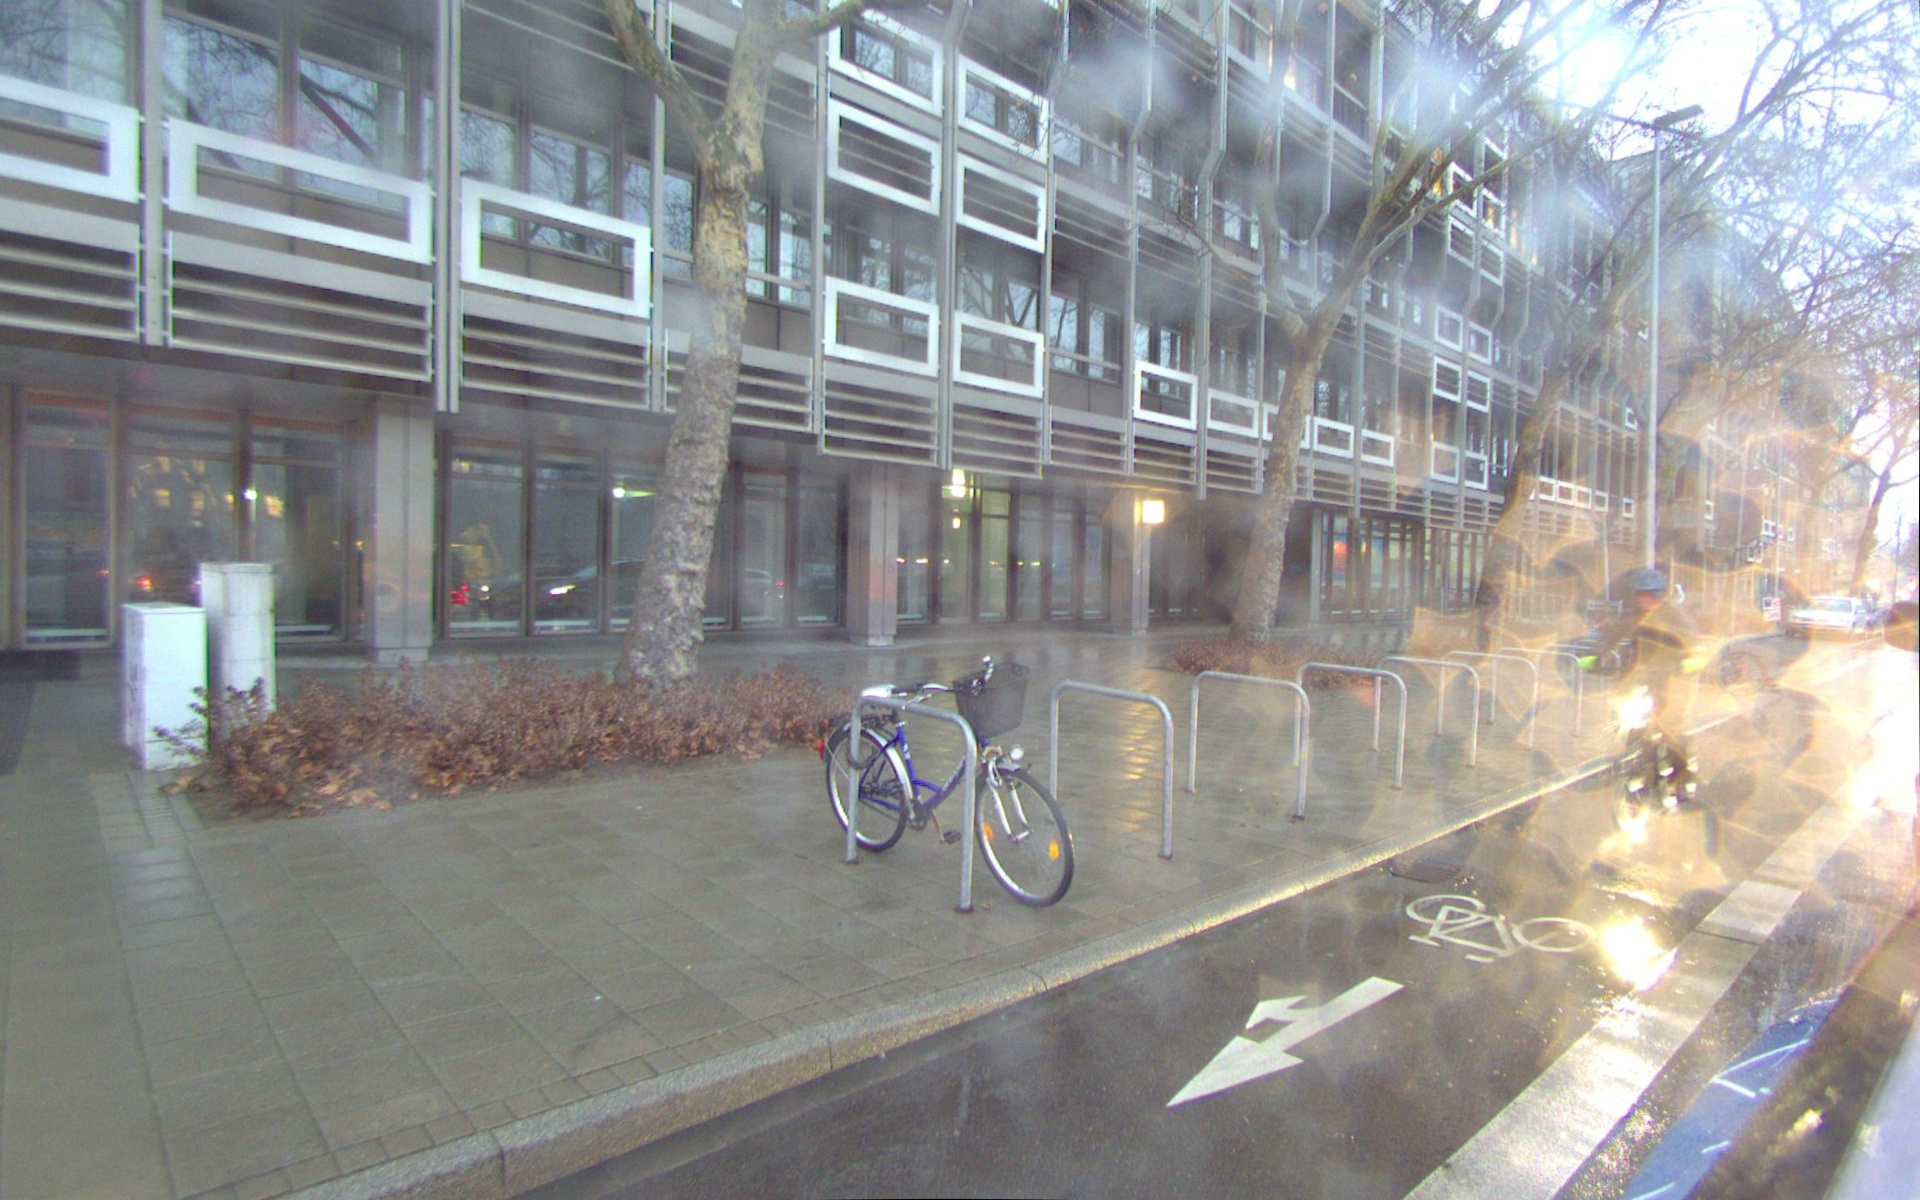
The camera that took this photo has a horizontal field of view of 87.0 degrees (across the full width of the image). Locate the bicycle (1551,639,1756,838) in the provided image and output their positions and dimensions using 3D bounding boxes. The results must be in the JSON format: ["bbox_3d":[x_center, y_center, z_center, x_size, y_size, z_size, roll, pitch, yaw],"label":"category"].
[{"bbox_3d":[4.695,0.848,6.809,1.752,1.108,0.709,1,0,-41],"label":"bicycle"}]

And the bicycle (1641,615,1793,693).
[{"bbox_3d":[11.661,0.800,15.628,0.864,1.004,1.704,0,4,-41],"label":"bicycle"}]

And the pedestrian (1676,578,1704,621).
[{"bbox_3d":[30.271,-0.032,41.979,0.765,1.771,0.913,2,2,45],"label":"pedestrian"}]

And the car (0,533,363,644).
[{"bbox_3d":[-10.695,-0.199,14.031,3.929,1.326,1.998,0,3,-40],"label":"car"}]

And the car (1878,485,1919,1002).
[{"bbox_3d":[5.454,0.500,4.387,3.933,1.864,1.875,-1,0,-43],"label":"car"}]

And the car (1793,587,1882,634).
[{"bbox_3d":[29.387,0.304,33.853,3.930,1.482,1.711,-1,1,-41],"label":"car"}]

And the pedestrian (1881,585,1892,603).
[{"bbox_3d":[95.146,-0.636,103.949,0.765,1.771,0.913,2,2,45],"label":"pedestrian"}]

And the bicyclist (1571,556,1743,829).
[{"bbox_3d":[4.685,0.559,6.797,0.947,1.681,0.704,1,1,-41],"label":"bicyclist"}]

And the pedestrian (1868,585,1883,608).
[{"bbox_3d":[71.816,-0.256,79.407,0.765,1.771,0.913,2,2,45],"label":"pedestrian"}]

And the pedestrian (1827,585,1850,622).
[{"bbox_3d":[44.055,0.163,50.759,0.765,1.771,0.913,2,2,45],"label":"pedestrian"}]

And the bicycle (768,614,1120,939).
[{"bbox_3d":[-0.161,0.712,4.860,0.629,1.145,1.810,2,2,-41],"label":"bicycle"}]
